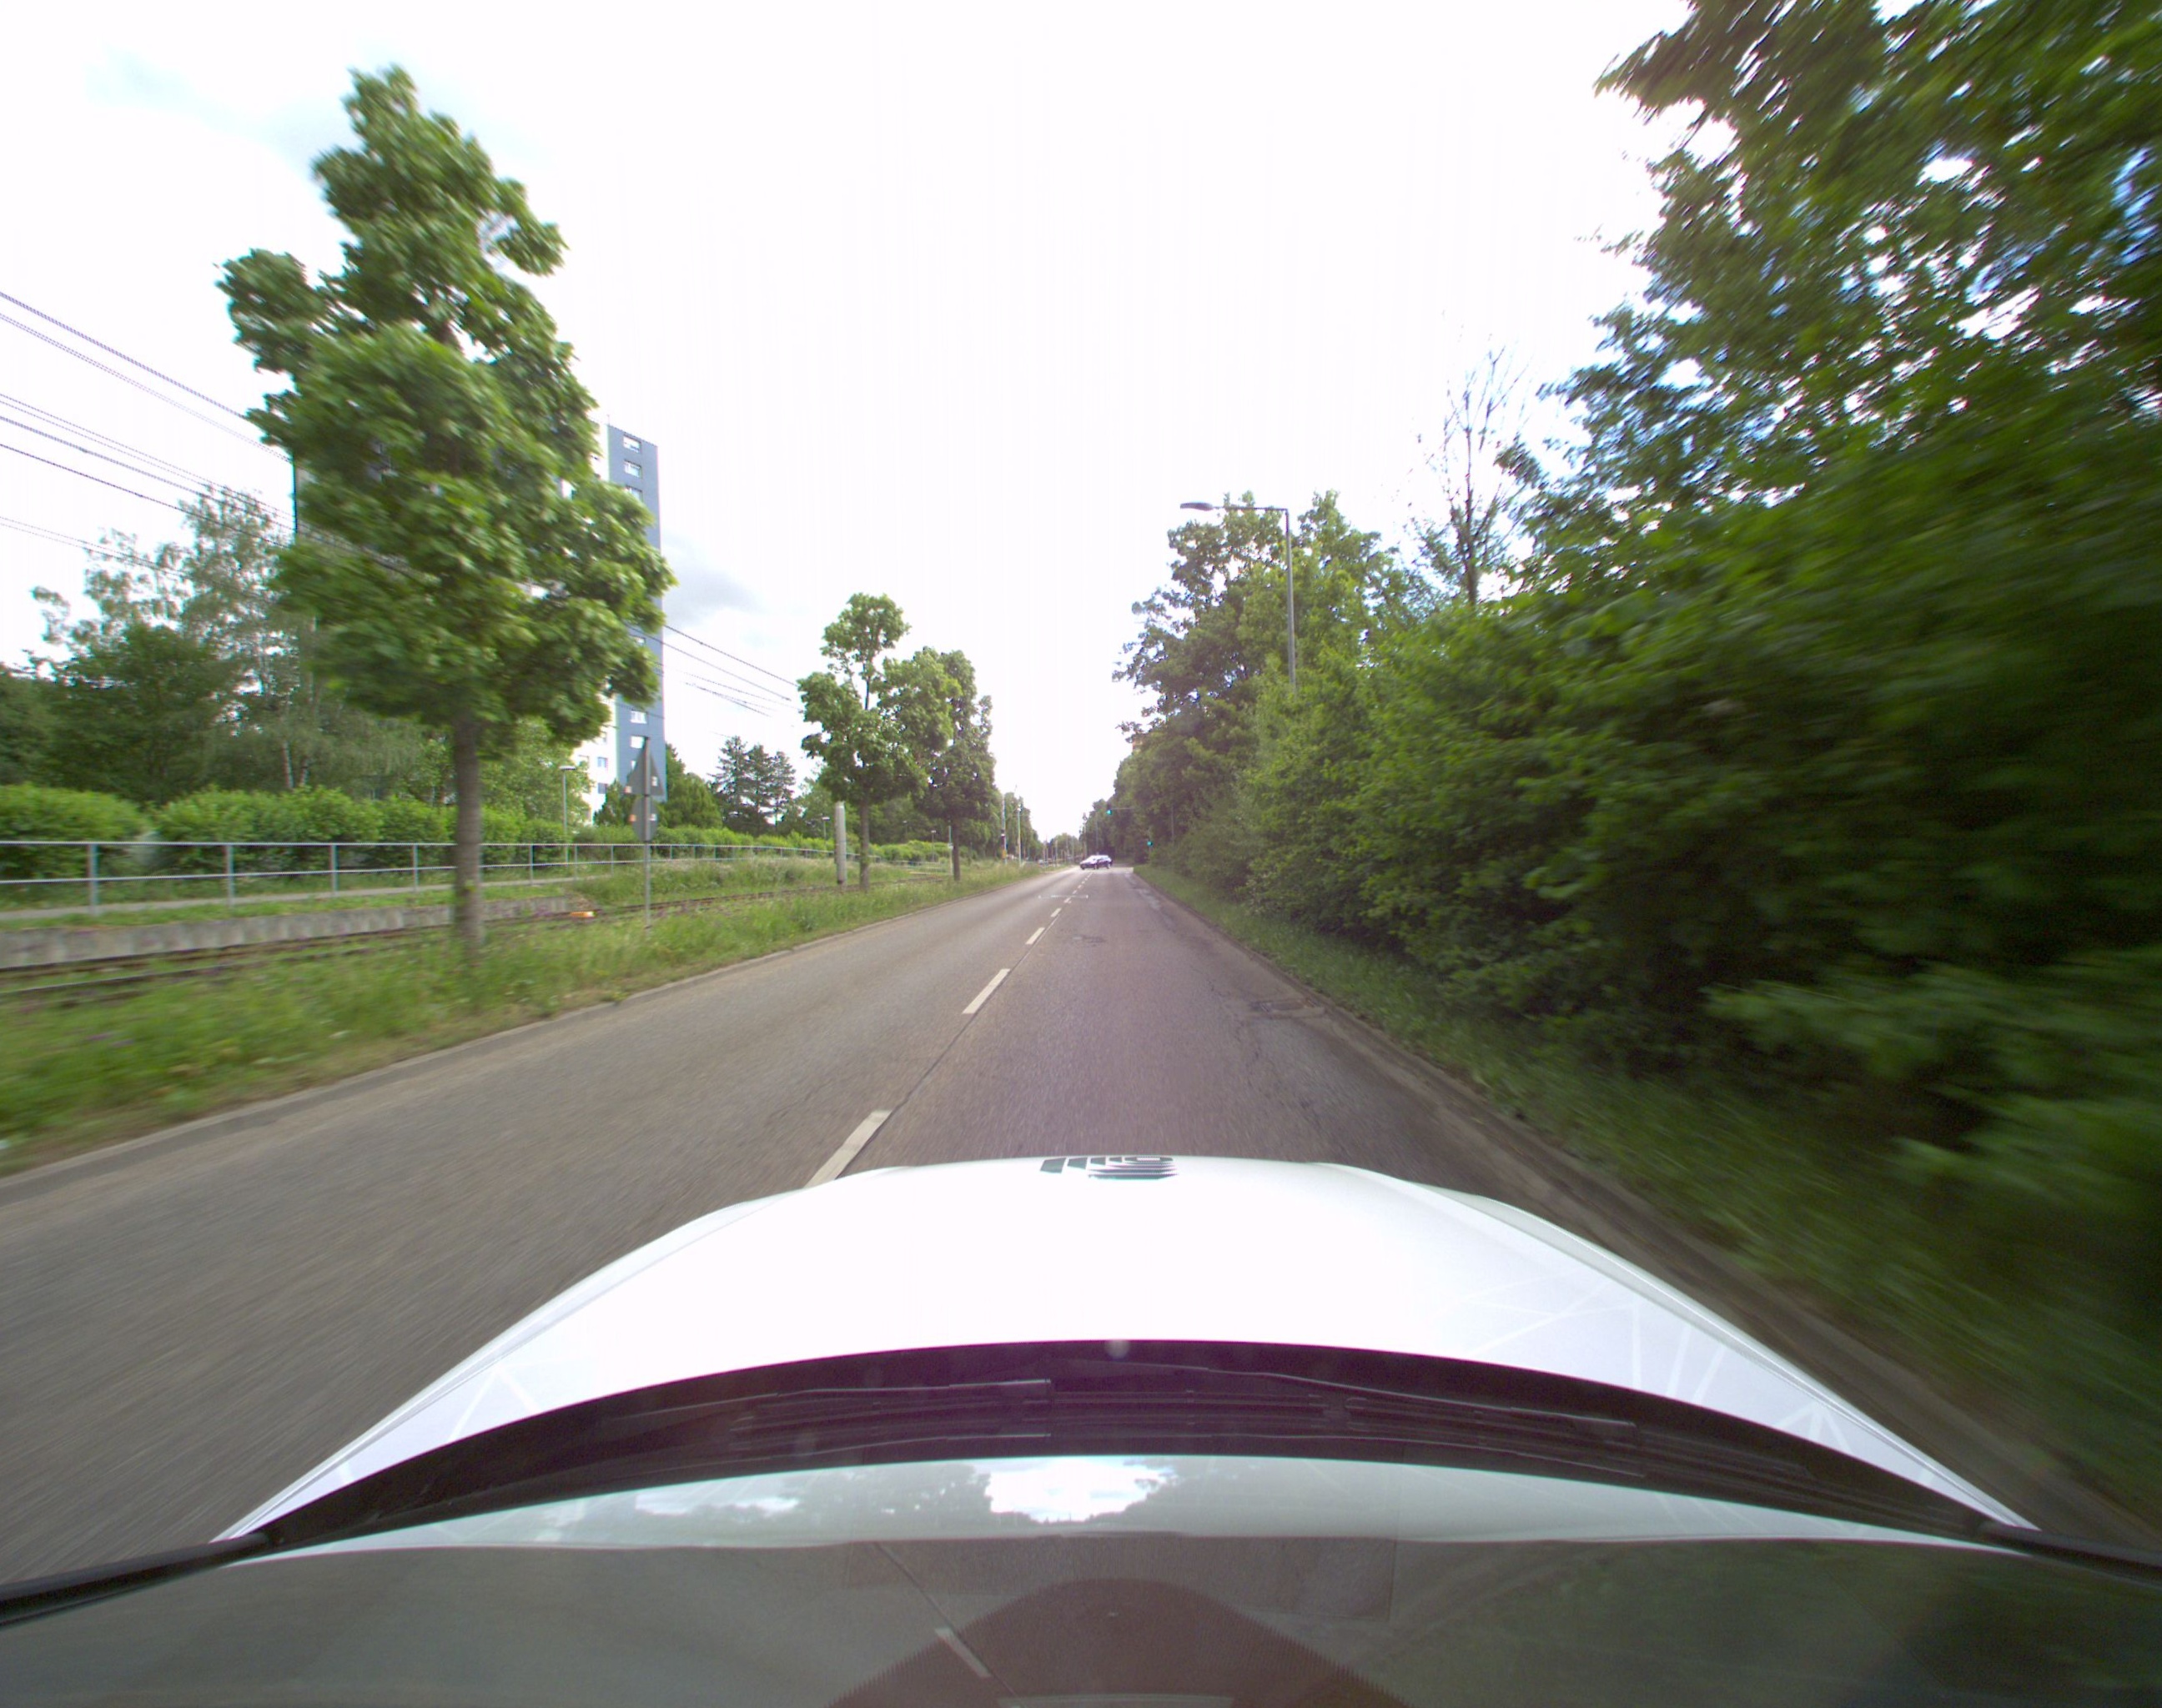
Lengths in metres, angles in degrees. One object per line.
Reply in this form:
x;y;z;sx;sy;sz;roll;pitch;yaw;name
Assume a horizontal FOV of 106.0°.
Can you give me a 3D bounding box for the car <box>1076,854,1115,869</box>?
1.648;0.825;90.246;4.279;1.470;1.834;-1;0;-43;car
